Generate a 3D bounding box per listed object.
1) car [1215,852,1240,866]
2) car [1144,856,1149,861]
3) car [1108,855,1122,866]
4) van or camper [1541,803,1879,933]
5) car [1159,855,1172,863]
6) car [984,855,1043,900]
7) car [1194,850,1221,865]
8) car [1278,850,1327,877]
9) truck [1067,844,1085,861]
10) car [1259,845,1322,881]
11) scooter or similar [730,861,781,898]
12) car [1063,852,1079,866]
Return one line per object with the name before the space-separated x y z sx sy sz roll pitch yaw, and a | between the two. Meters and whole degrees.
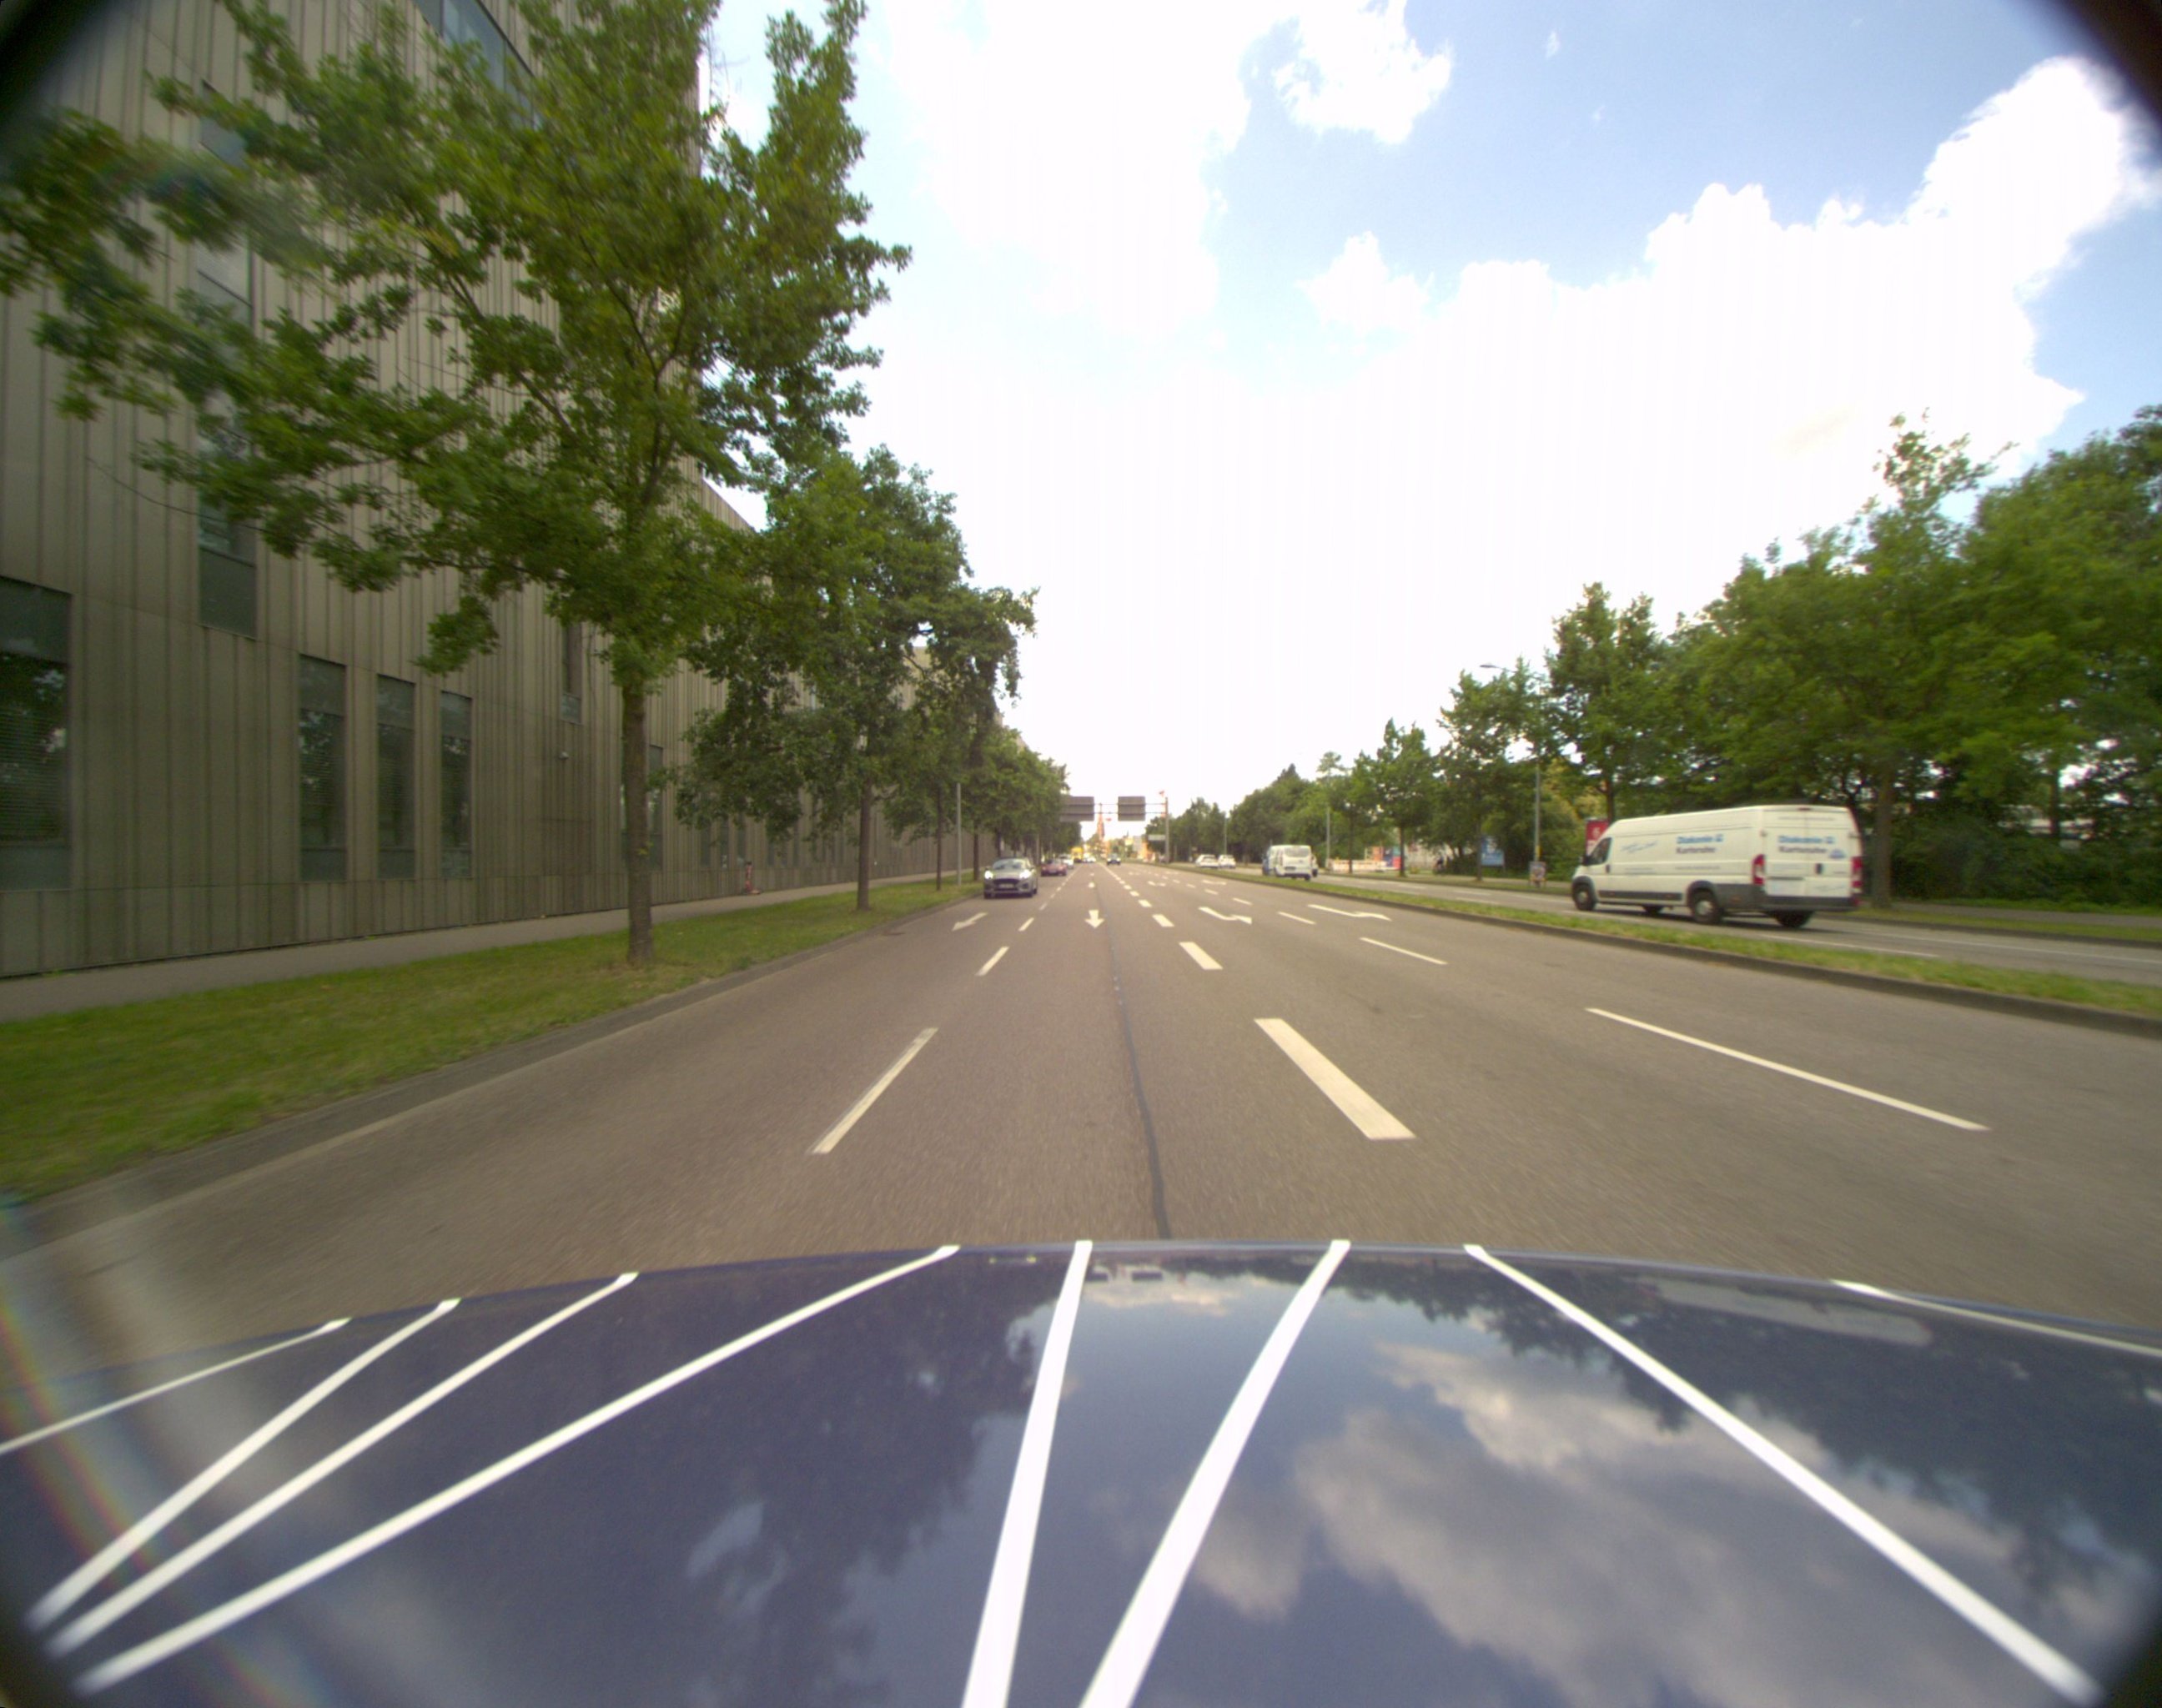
car | 16.344 0.564 85.025 1.919 1.434 4.415 2 0 0
car | 21.540 1.534 250.021 1.713 1.487 3.698 1 0 2
car | 4.717 0.837 104.820 1.782 1.487 3.598 1 0 1
van or camper | 14.492 0.271 18.452 2.358 2.525 7.063 -1 0 0
car | 15.689 0.865 141.023 1.964 1.508 4.909 0 0 1
car | -2.524 0.846 29.331 1.823 1.565 3.954 -2 0 1
car | 12.968 0.327 78.078 1.998 1.423 5.024 0 0 1
car | 15.635 0.648 53.894 1.999 1.791 4.408 0 0 -2
truck | -0.907 -0.288 143.489 3.066 3.095 7.935 1 0 1
car | 12.004 0.513 43.985 2.196 1.952 5.193 1 0 0
scooter or similar | -11.715 0.875 27.435 0.706 1.239 2.480 1 0 1
car | -1.068 0.558 84.215 1.713 1.487 3.650 1 0 1
